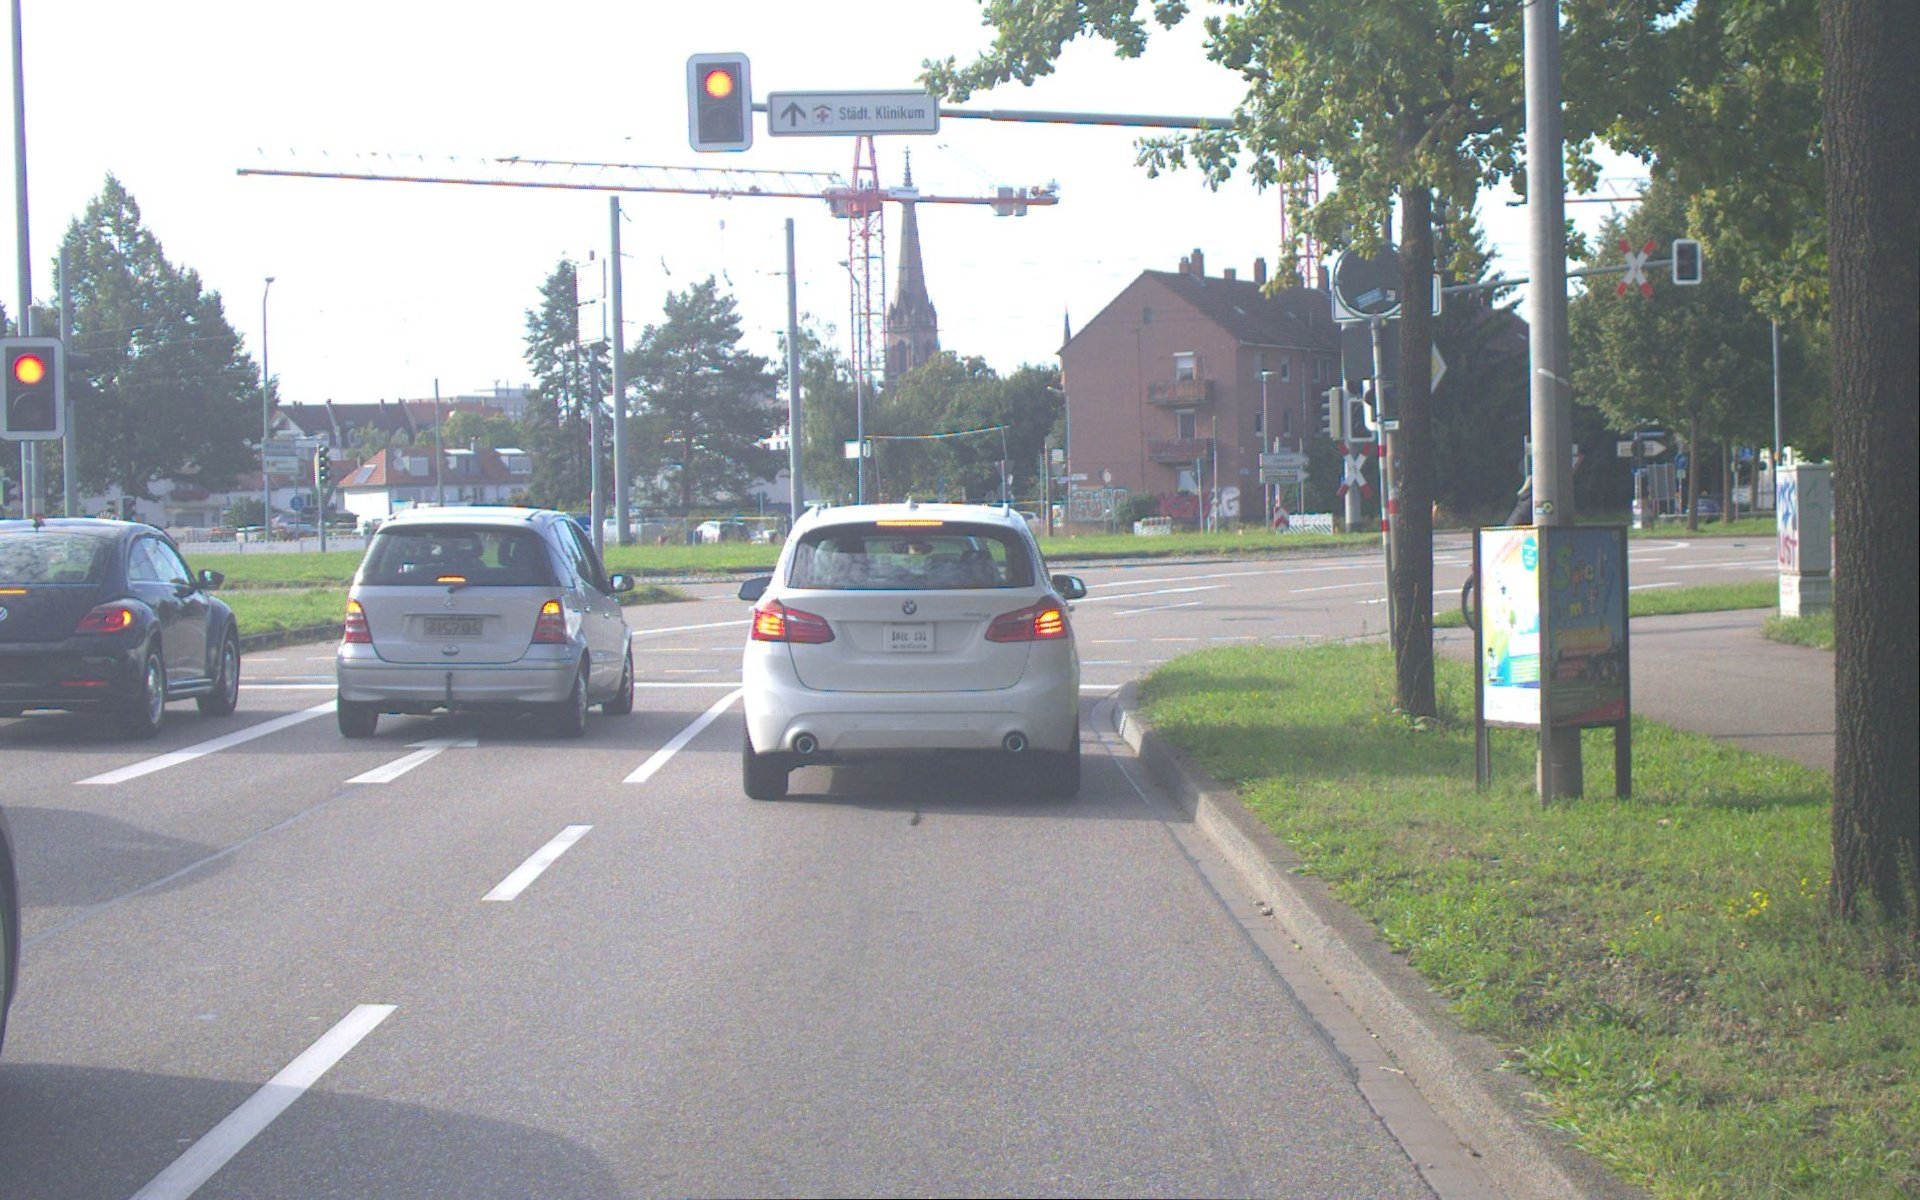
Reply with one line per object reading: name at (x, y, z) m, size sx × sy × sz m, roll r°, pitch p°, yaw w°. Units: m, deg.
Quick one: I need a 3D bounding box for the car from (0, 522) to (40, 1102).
car at (-3.364, 0.575, 6.836) m, size 1.890 × 1.478 × 4.613 m, roll 0°, pitch 1°, yaw -1°

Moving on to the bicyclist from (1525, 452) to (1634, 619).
bicyclist at (6.273, -0.655, 34.831) m, size 0.829 × 1.642 × 0.686 m, roll -3°, pitch 1°, yaw -12°

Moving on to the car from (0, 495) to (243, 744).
car at (-6.244, 0.069, 23.895) m, size 1.721 × 1.559 × 3.878 m, roll 1°, pitch 2°, yaw 0°

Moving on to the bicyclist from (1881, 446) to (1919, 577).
bicyclist at (11.394, -1.043, 40.336) m, size 0.848 × 1.521 × 0.741 m, roll -2°, pitch 1°, yaw -17°

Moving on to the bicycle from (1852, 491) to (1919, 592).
bicycle at (11.425, -0.698, 40.373) m, size 1.724 × 1.159 × 0.656 m, roll -1°, pitch 1°, yaw -16°

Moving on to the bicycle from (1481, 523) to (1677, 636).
bicycle at (6.270, -0.212, 34.837) m, size 1.770 × 1.046 × 0.711 m, roll -3°, pitch 1°, yaw -12°

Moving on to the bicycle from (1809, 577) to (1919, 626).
bicycle at (9.321, 0.003, 32.772) m, size 1.407 × 0.384 × 2.577 m, roll -2°, pitch 1°, yaw -12°

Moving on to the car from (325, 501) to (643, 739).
car at (-3.320, 0.078, 24.641) m, size 1.729 × 1.553 × 4.058 m, roll 0°, pitch 2°, yaw 0°

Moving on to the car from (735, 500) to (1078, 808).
car at (-0.300, 0.217, 19.387) m, size 1.729 × 1.553 × 4.058 m, roll 0°, pitch 2°, yaw -1°
